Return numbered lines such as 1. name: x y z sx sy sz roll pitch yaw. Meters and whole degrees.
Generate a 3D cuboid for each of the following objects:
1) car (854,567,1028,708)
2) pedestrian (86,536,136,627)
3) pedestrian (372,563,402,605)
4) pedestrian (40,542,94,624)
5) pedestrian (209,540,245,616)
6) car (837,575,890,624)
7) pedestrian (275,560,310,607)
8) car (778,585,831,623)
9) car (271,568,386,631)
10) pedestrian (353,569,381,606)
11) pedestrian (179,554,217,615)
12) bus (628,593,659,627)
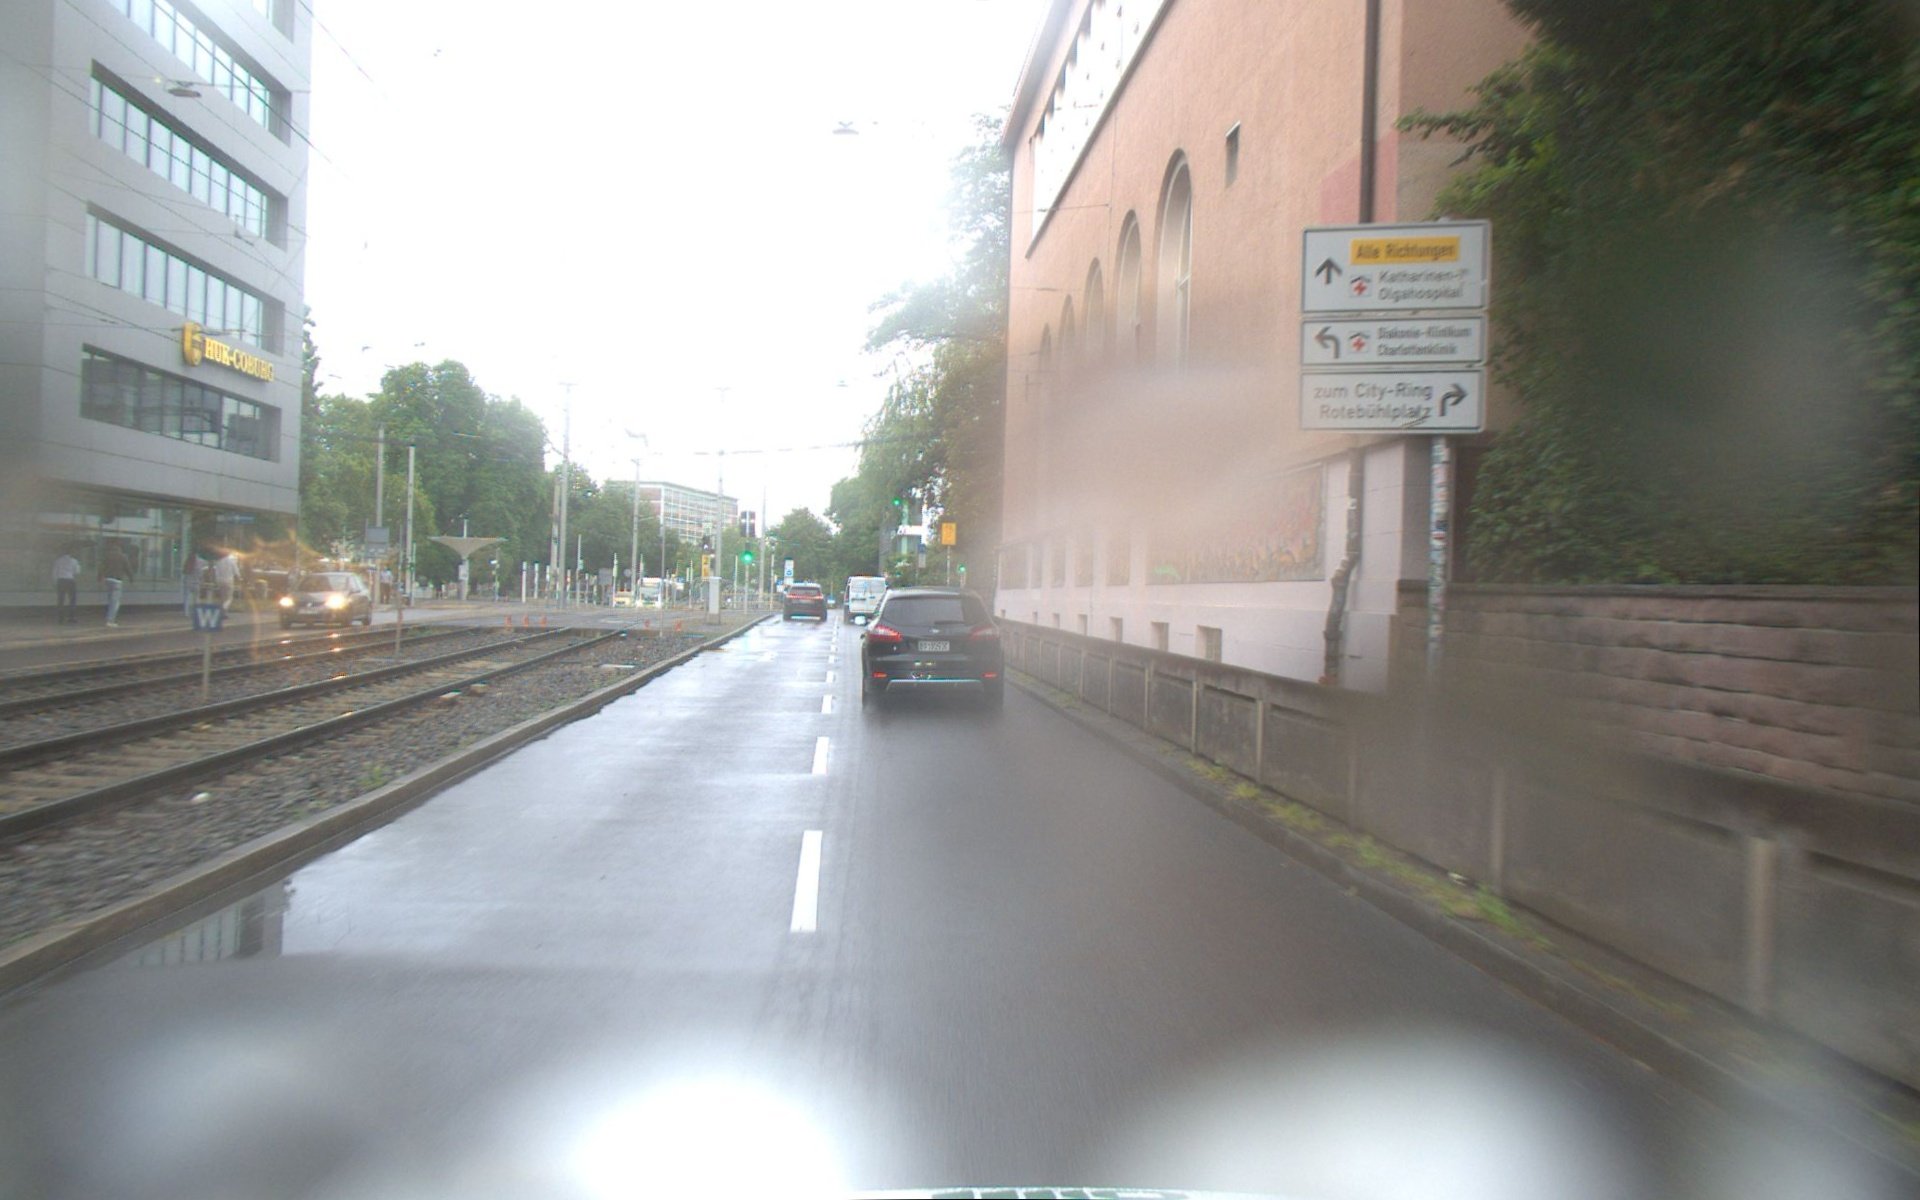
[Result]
1. car: -0.359 0.435 21.823 1.996 1.612 4.388 2 0 -4
2. pedestrian: -19.780 -0.429 38.564 0.648 2.048 0.810 3 -1 -4
3. pedestrian: -27.345 -0.762 78.946 0.979 1.895 0.914 3 -1 7
4. pedestrian: -20.762 -0.389 38.471 0.648 1.847 0.973 3 -1 -4
5. pedestrian: -20.093 -0.609 45.340 0.657 2.048 0.607 4 -1 -43
6. car: -3.920 -0.029 67.815 1.995 1.872 4.390 2 0 -2
7. pedestrian: -24.110 -0.602 59.729 0.958 1.622 0.580 4 -1 -41
8. car: -6.586 0.158 70.484 2.057 1.532 4.729 0 0 -3
9. car: -16.911 -0.019 44.506 1.903 1.563 4.342 -1 0 -8
10. pedestrian: -26.979 -0.569 75.248 0.893 1.622 1.002 3 0 -5
11. pedestrian: -20.877 -0.417 45.322 0.574 1.622 0.636 3 -1 13
12. bus: -33.388 1.018 174.872 3.021 3.358 12.491 0 0 -10
